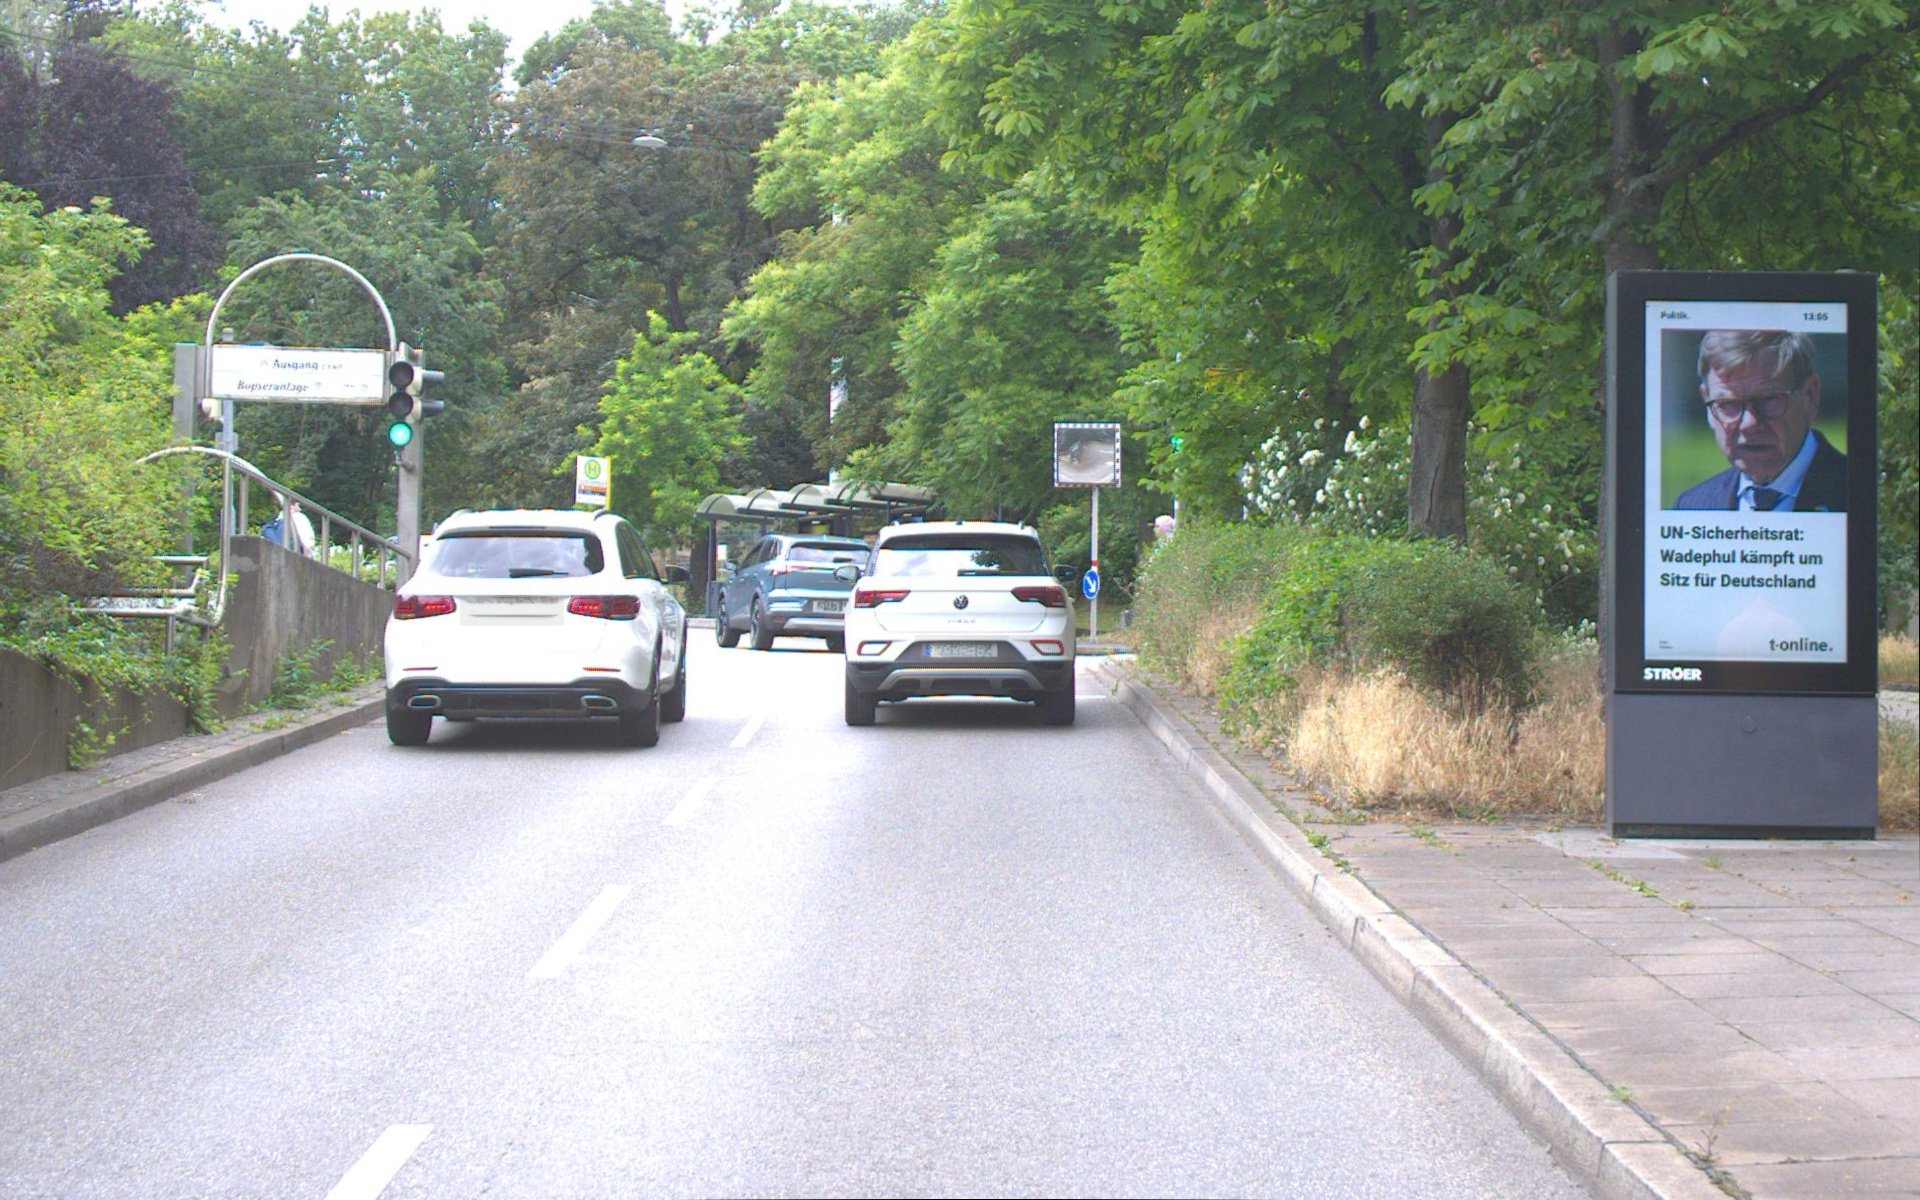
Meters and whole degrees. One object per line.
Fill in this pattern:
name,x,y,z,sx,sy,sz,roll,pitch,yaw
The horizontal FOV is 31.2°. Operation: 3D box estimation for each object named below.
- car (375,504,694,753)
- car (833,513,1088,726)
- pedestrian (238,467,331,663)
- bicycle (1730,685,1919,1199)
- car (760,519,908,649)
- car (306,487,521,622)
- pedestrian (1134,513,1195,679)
car,-3.003,0.153,25.091,1.877,1.646,4.342,0,1,-1
car,0.027,0.124,27.336,1.865,1.551,3.894,1,1,1
pedestrian,-6.463,-0.338,32.906,0.705,1.854,0.614,1,1,6
bicycle,2.021,0.725,4.978,0.638,1.139,2.066,-1,1,-25
car,-1.724,-0.231,45.939,1.860,1.626,3.960,1,1,-3
car,-8.229,-0.705,51.491,1.993,1.875,4.001,2,1,-27
pedestrian,2.121,-0.046,35.677,0.615,1.706,0.727,0,1,4
